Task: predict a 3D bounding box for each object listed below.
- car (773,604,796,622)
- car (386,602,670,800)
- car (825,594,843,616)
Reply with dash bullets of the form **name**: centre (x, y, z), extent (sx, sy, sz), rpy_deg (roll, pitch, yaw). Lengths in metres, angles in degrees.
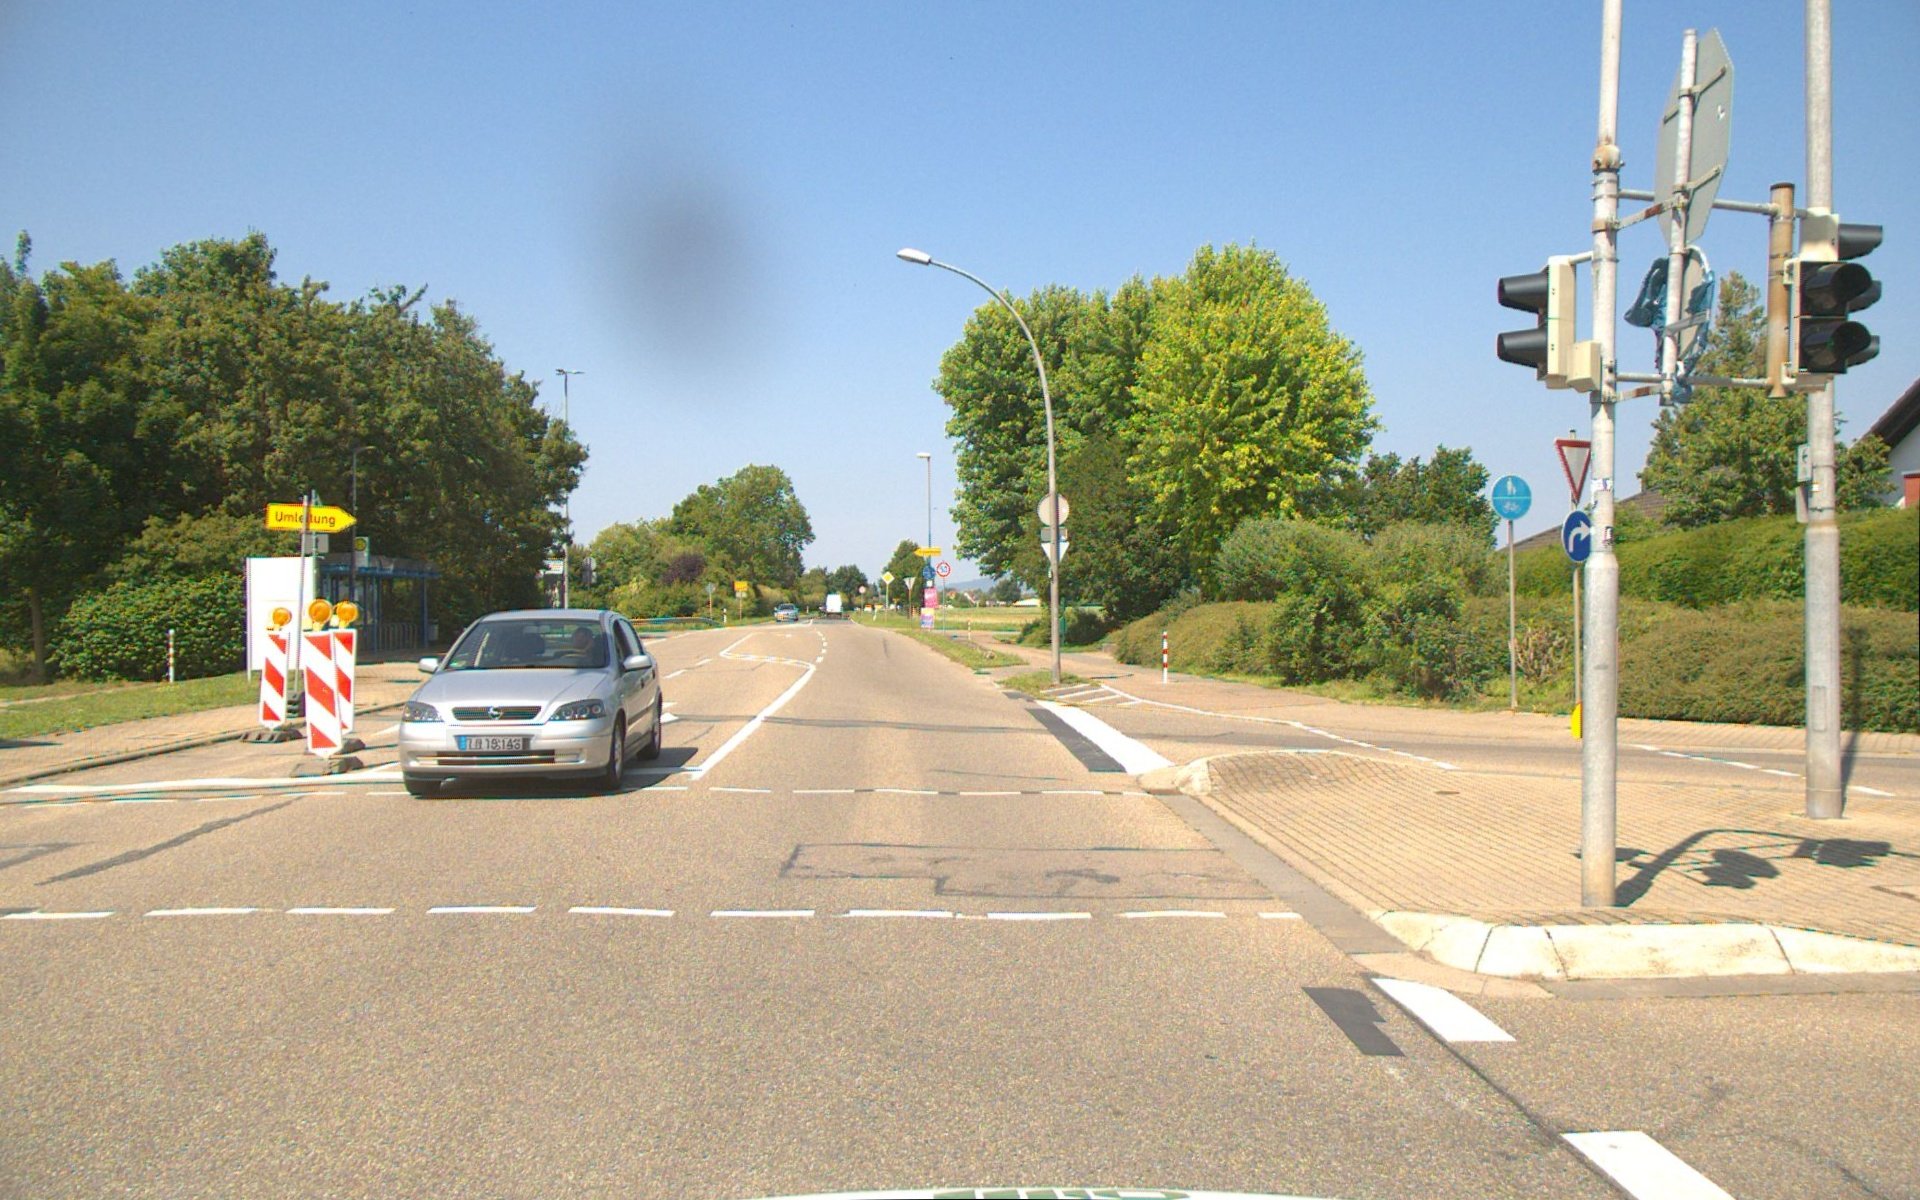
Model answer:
- **car**: centre (-14.498, 1.078, 136.825), extent (1.603, 1.496, 4.414), rpy_deg (-1, 0, -2)
- **car**: centre (-3.526, 0.744, 14.170), extent (1.666, 1.428, 3.976), rpy_deg (0, 0, -5)
- **car**: centre (-15.704, 0.641, 205.851), extent (1.956, 2.698, 3.992), rpy_deg (0, 0, -9)
